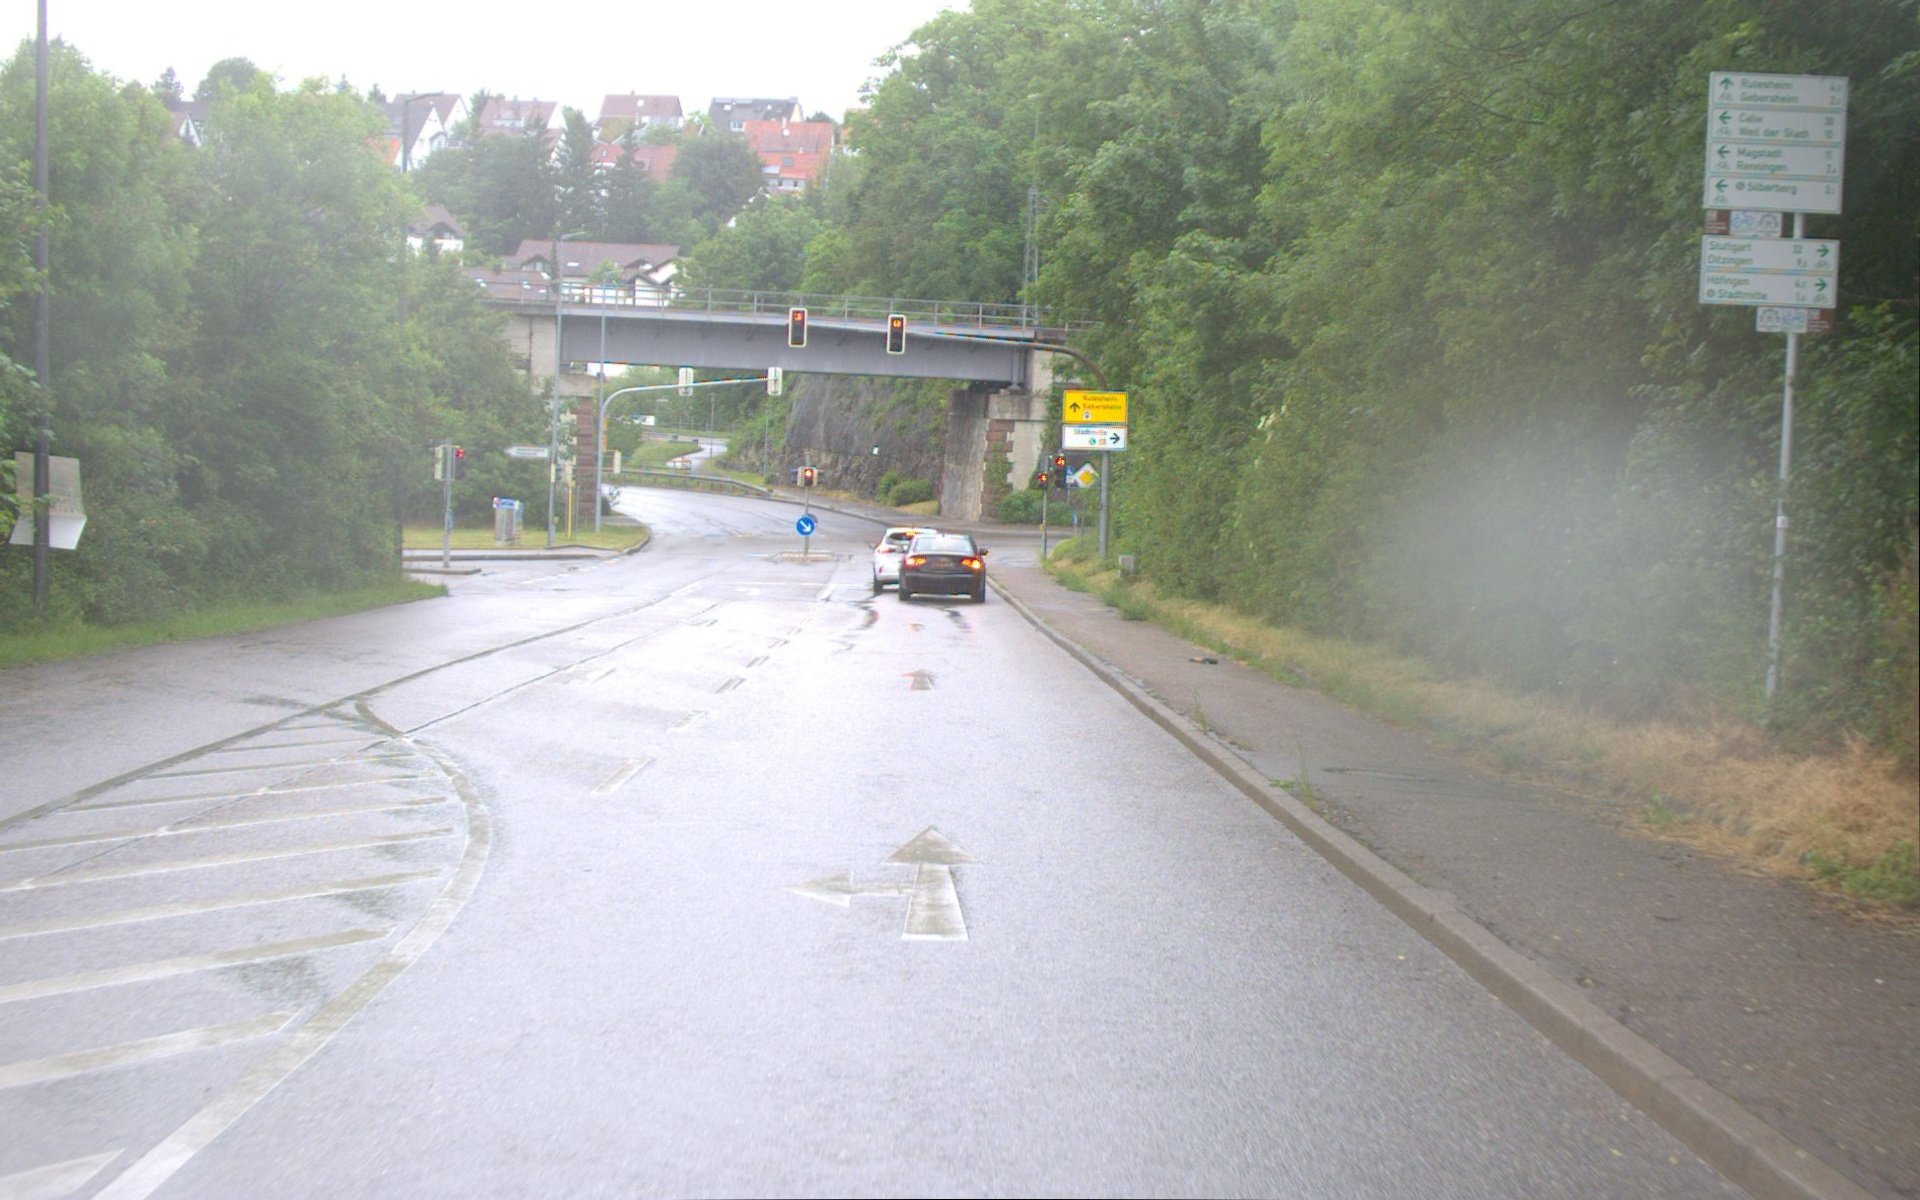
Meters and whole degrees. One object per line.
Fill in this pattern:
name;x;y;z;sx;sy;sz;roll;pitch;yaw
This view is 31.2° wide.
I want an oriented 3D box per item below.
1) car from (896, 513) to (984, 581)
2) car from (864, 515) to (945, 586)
car;-0.414;-1.109;71.607;1.768;1.375;4.000;1;1;0
car;-1.237;-1.139;78.374;1.768;1.557;4.000;1;1;0
